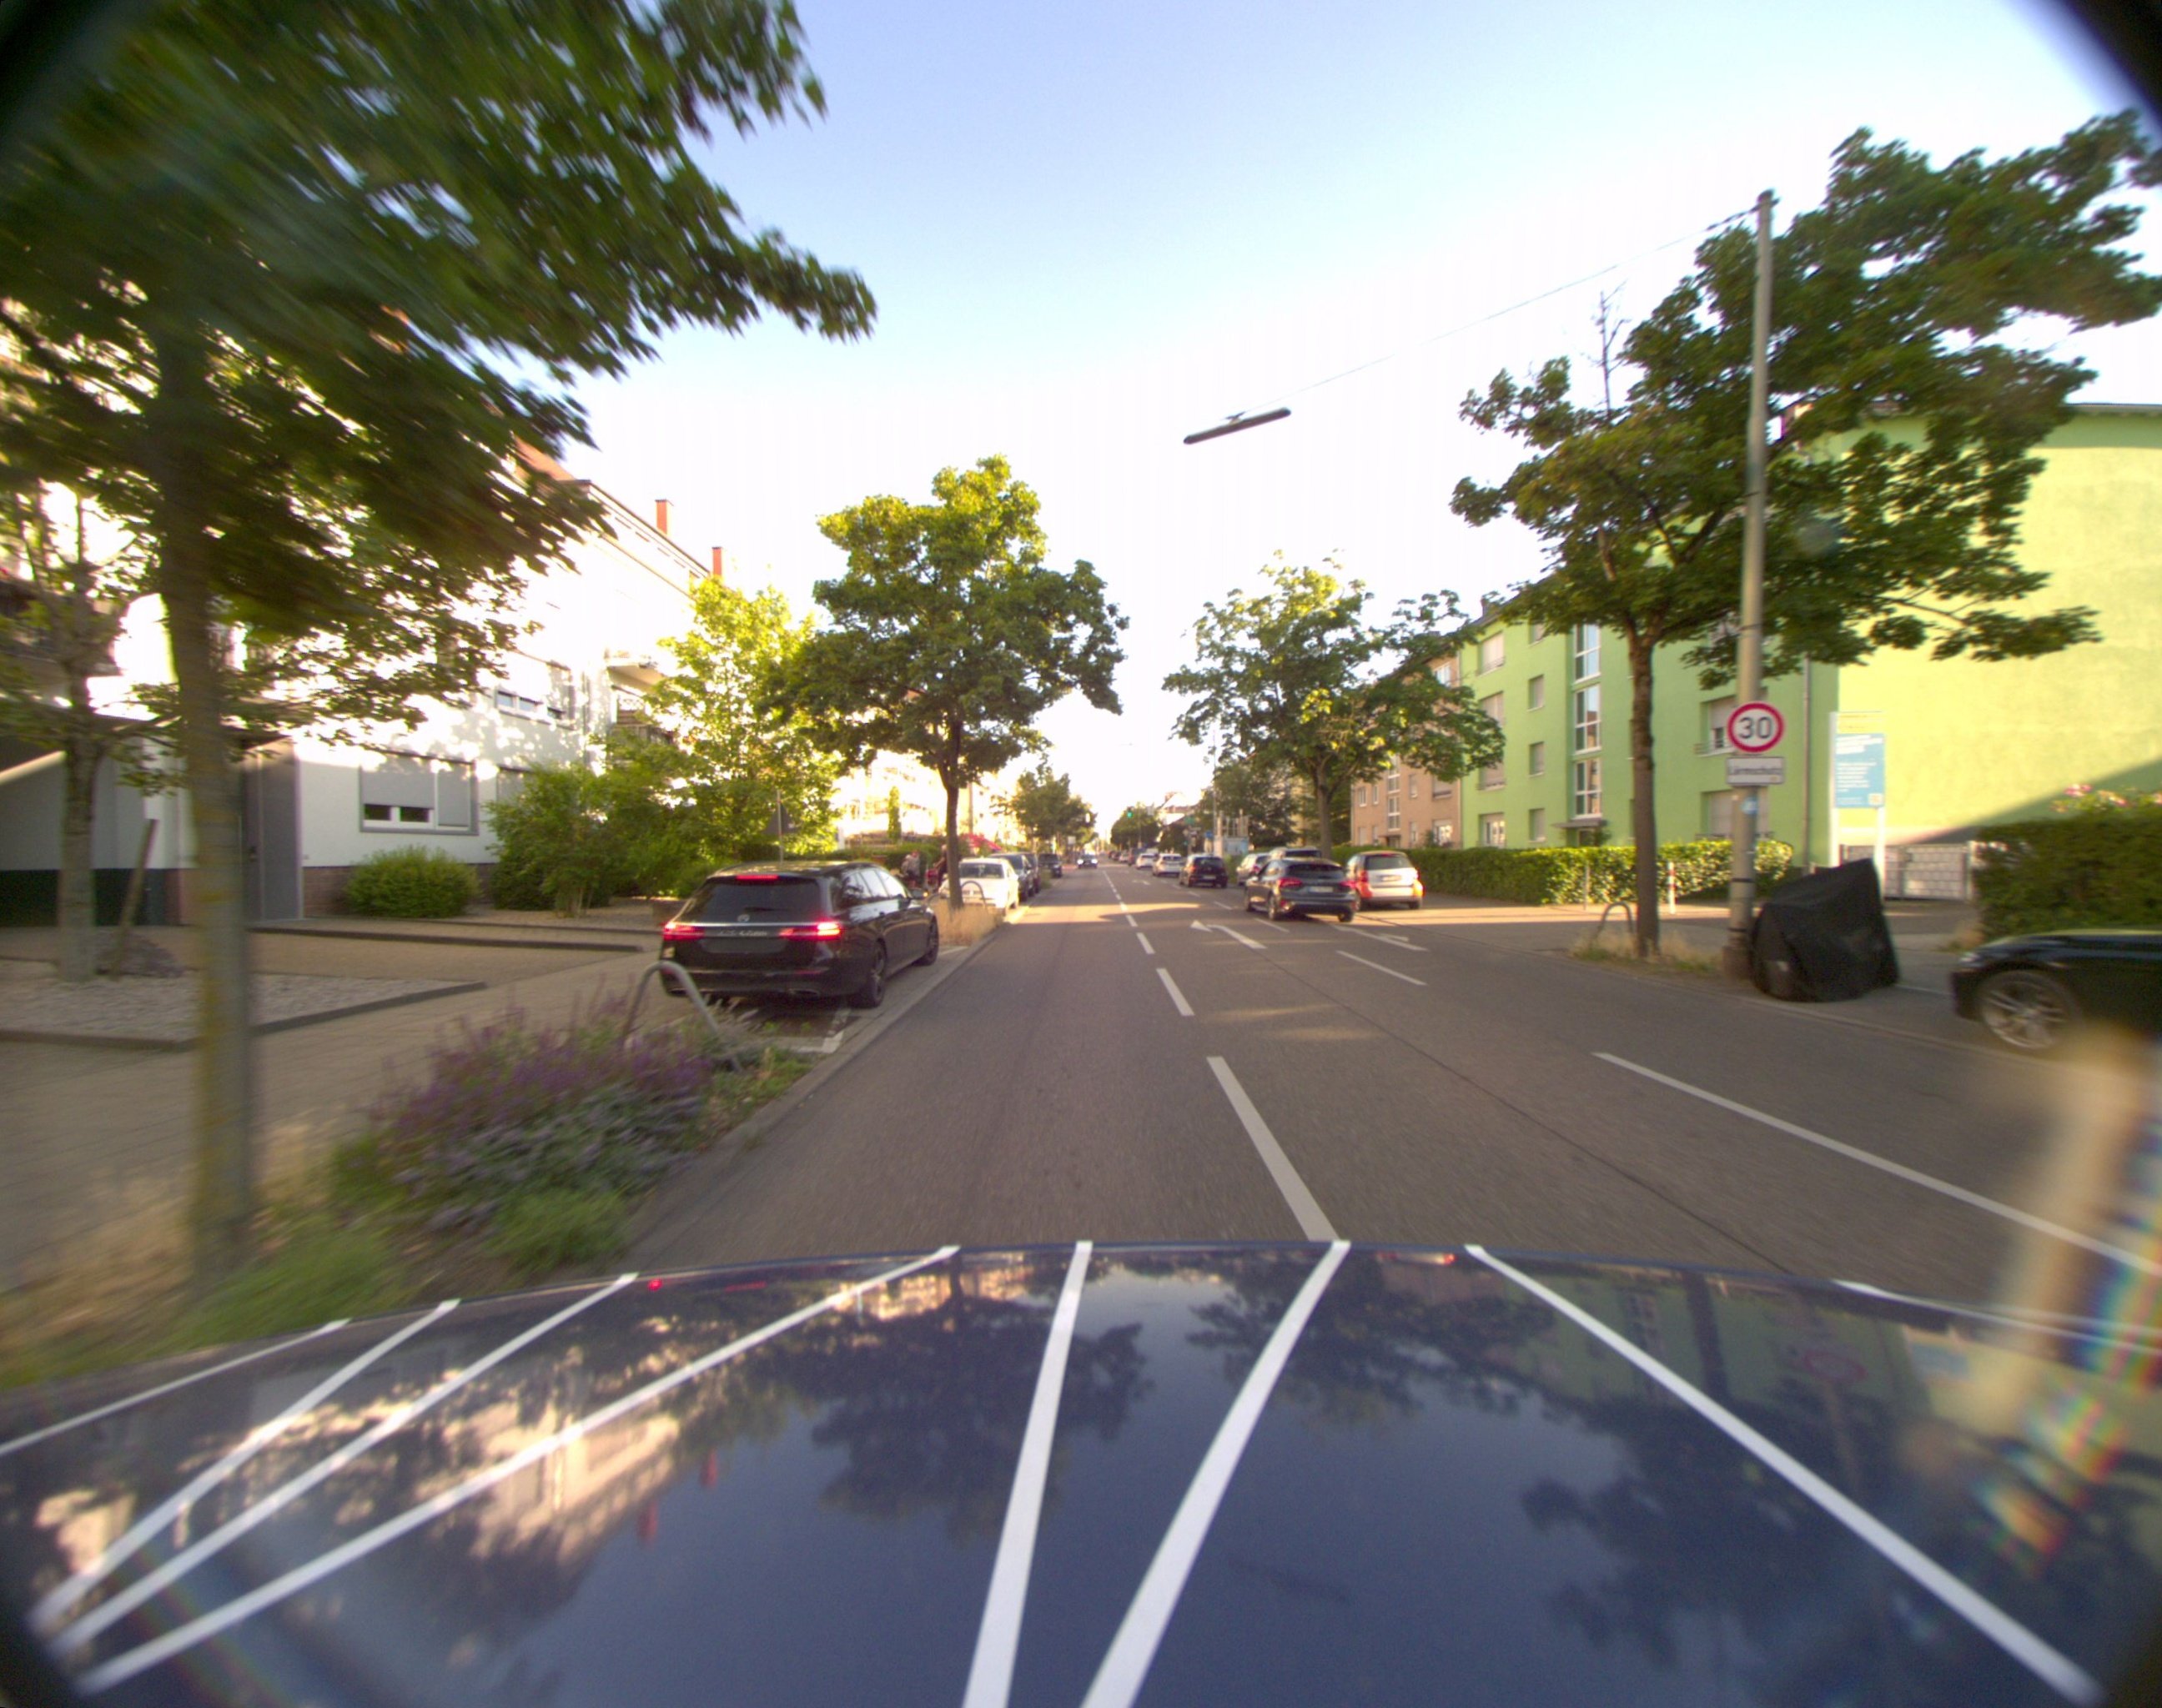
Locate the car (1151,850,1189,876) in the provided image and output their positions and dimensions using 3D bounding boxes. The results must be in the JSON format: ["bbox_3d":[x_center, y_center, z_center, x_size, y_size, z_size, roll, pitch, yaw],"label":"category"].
[{"bbox_3d":[5.636,0.540,48.380,1.837,1.462,4.451,2,0,0],"label":"car"}]

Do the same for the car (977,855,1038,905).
[{"bbox_3d":[-2.476,0.844,26.434,1.640,1.559,4.000,0,0,1],"label":"car"}]

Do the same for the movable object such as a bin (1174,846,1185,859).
[{"bbox_3d":[13.661,-0.201,105.396,1.309,1.649,1.180,-4,2,1],"label":"movable object such as a bin"}]

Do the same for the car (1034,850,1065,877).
[{"bbox_3d":[-2.019,0.587,49.123,1.796,1.622,4.029,-1,0,0],"label":"car"}]

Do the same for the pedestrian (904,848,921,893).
[{"bbox_3d":[-6.531,0.632,29.443,0.512,1.687,0.527,-1,1,-4],"label":"pedestrian"}]

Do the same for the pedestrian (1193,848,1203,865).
[{"bbox_3d":[11.365,0.243,73.856,0.750,1.648,0.608,-1,1,-6],"label":"pedestrian"}]

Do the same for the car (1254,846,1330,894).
[{"bbox_3d":[8.125,0.571,29.699,1.788,1.723,4.617,-1,0,2],"label":"car"}]

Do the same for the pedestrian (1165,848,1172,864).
[{"bbox_3d":[10.488,0.242,91.079,0.639,2.002,0.739,-1,1,2],"label":"pedestrian"}]

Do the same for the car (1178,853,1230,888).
[{"bbox_3d":[5.453,0.699,34.223,1.704,1.395,4.027,1,0,1],"label":"car"}]

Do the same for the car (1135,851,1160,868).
[{"bbox_3d":[6.036,0.492,69.369,1.820,1.438,4.109,1,0,0],"label":"car"}]

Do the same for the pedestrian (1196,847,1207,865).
[{"bbox_3d":[11.597,0.167,73.042,0.607,1.620,0.751,-3,2,38],"label":"pedestrian"}]

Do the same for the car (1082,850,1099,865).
[{"bbox_3d":[0.986,0.379,77.475,1.641,1.482,4.415,0,0,1],"label":"car"}]

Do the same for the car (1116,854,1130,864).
[{"bbox_3d":[6.075,0.685,110.727,1.841,1.465,4.671,1,0,1],"label":"car"}]

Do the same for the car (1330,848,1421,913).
[{"bbox_3d":[7.937,0.662,20.689,1.502,1.607,2.862,-1,1,4],"label":"car"}]

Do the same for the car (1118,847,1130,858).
[{"bbox_3d":[7.259,-0.207,128.046,1.866,1.819,5.228,1,1,2],"label":"car"}]

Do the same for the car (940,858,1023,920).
[{"bbox_3d":[-2.600,0.866,20.764,1.641,1.482,4.415,0,0,1],"label":"car"}]

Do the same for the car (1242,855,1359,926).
[{"bbox_3d":[5.106,0.781,18.269,1.704,1.462,4.294,0,1,2],"label":"car"}]

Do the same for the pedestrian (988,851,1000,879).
[{"bbox_3d":[-4.960,0.631,43.279,0.558,1.559,0.747,-1,1,-17],"label":"pedestrian"}]

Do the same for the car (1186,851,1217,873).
[{"bbox_3d":[8.543,0.527,54.093,1.657,1.471,3.943,-1,0,2],"label":"car"}]

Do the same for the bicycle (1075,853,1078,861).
[{"bbox_3d":[-0.651,0.382,107.703,0.325,1.138,1.800,-1,1,-4],"label":"bicycle"}]

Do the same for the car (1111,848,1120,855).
[{"bbox_3d":[7.074,-0.549,155.240,1.845,1.312,4.441,0,1,2],"label":"car"}]

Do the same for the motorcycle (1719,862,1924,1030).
[{"bbox_3d":[7.532,0.835,7.710,2.031,1.381,0.988,-4,2,-31],"label":"motorcycle"}]

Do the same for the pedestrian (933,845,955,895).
[{"bbox_3d":[-5.134,0.601,28.498,0.549,1.839,0.765,-1,1,8],"label":"pedestrian"}]

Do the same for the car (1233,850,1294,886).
[{"bbox_3d":[8.225,0.602,34.601,1.687,1.512,4.190,-1,0,-1],"label":"car"}]

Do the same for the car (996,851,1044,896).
[{"bbox_3d":[-2.438,0.744,31.243,1.726,1.646,4.596,-1,0,-2],"label":"car"}]

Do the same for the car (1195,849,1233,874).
[{"bbox_3d":[8.570,0.470,49.113,1.641,1.543,3.785,-1,1,-2],"label":"car"}]

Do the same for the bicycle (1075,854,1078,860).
[{"bbox_3d":[-0.608,0.436,110.329,0.325,0.981,1.191,-1,1,5],"label":"bicycle"}]

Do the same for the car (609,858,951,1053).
[{"bbox_3d":[-2.964,0.869,8.824,1.879,1.572,4.821,0,0,2],"label":"car"}]

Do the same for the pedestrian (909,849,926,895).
[{"bbox_3d":[-6.109,0.671,28.353,0.512,1.687,0.527,-1,1,-4],"label":"pedestrian"}]

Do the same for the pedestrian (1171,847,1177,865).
[{"bbox_3d":[10.940,0.233,89.560,0.645,2.002,0.814,-2,2,2],"label":"pedestrian"}]

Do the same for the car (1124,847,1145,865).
[{"bbox_3d":[5.972,0.159,85.018,1.998,1.935,4.777,1,1,1],"label":"car"}]

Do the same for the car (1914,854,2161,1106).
[{"bbox_3d":[7.473,0.781,3.727,1.783,1.496,4.588,-1,0,1],"label":"car"}]
